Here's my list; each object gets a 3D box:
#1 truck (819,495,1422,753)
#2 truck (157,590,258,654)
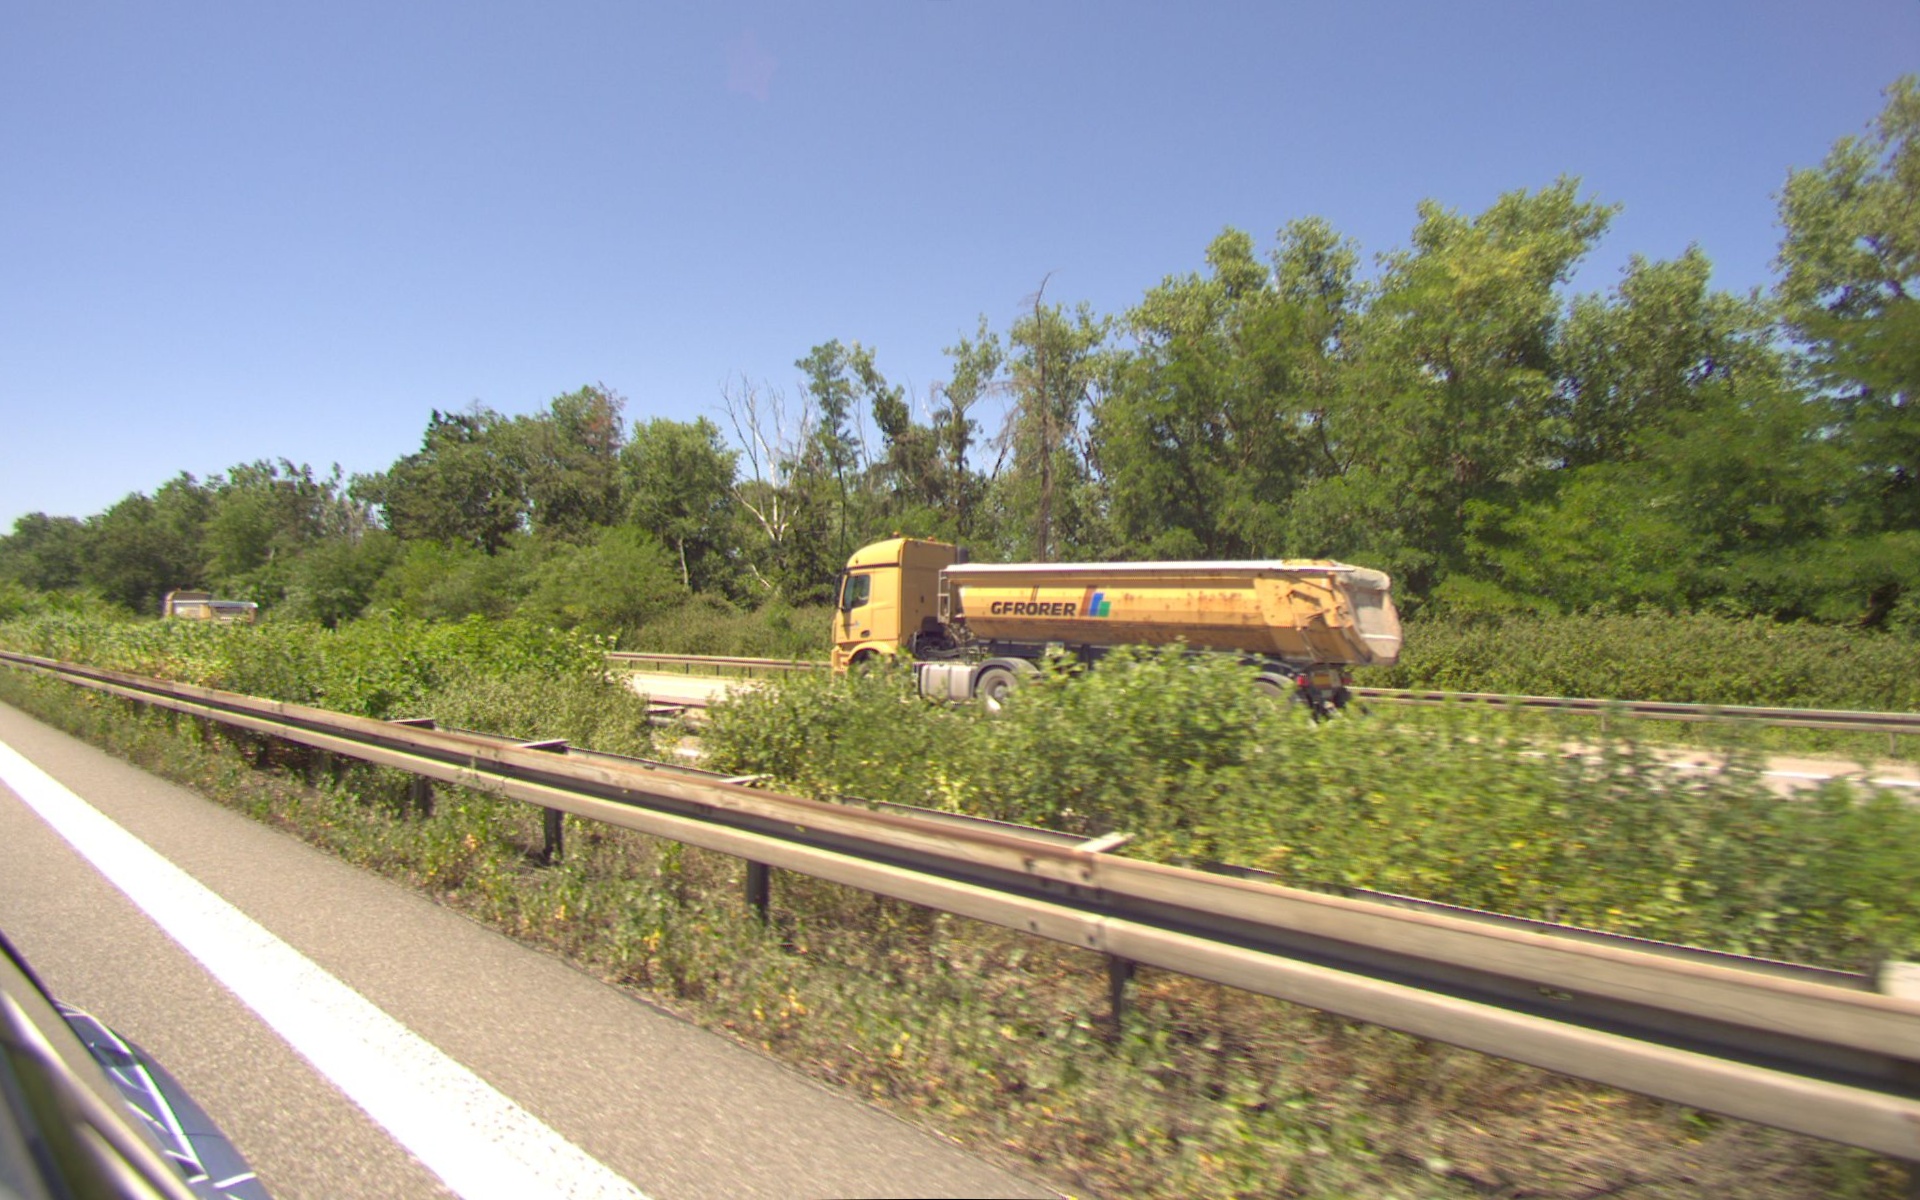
[{"bbox_3d":[2.295,0.510,19.680,11.893,3.734,2.869,-1,-4,41],"label":"truck"},{"bbox_3d":[-47.649,1.393,63.904,11.839,3.662,2.512,-1,-4,41],"label":"truck"}]
